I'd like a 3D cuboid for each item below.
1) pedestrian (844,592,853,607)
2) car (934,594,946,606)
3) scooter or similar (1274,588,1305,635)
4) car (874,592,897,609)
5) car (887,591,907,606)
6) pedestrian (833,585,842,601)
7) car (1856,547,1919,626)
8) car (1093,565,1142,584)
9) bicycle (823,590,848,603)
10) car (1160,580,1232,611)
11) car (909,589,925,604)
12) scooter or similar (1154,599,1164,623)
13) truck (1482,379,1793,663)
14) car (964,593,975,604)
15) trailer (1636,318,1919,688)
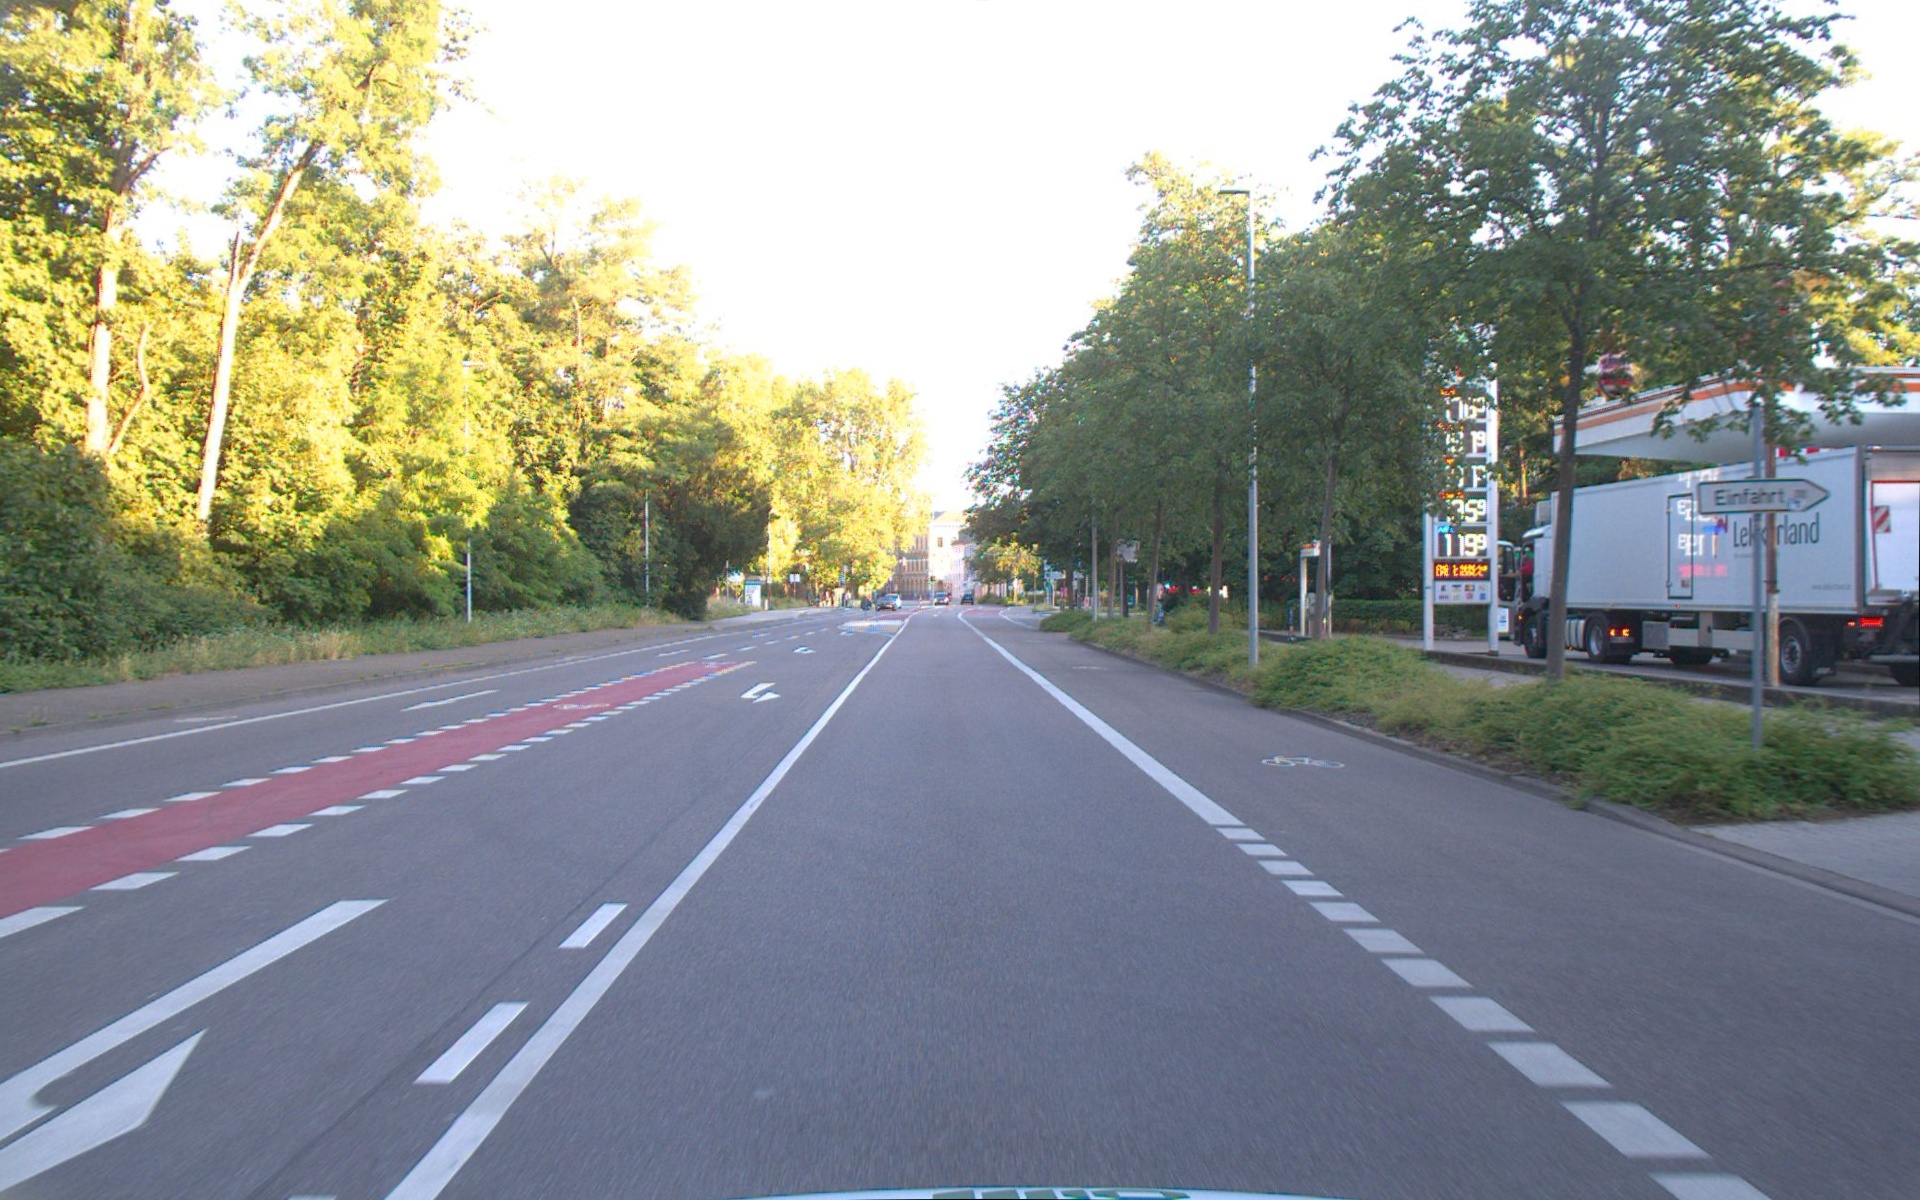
[{"bbox_3d":[-11.661,-0.066,173.410,0.774,1.608,0.746,1,0,8],"label":"pedestrian"},{"bbox_3d":[-2.530,0.015,212.737,1.462,1.512,3.490,0,0,0],"label":"car"},{"bbox_3d":[9.363,0.316,47.070,0.585,1.304,1.468,0,0,0],"label":"scooter or similar"},{"bbox_3d":[-6.633,-0.004,147.182,1.760,1.478,4.128,0,0,1],"label":"car"},{"bbox_3d":[-6.269,-0.128,165.628,1.760,1.478,4.128,0,0,1],"label":"car"},{"bbox_3d":[-12.298,-0.722,166.377,0.774,1.608,0.746,1,0,8],"label":"pedestrian"},{"bbox_3d":[30.078,-0.402,51.742,1.733,2.388,4.623,1,0,2],"label":"car"},{"bbox_3d":[14.202,-2.286,149.281,4.364,1.618,1.717,0,0,7],"label":"car"},{"bbox_3d":[-12.492,-0.353,166.402,2.410,1.216,0.757,0,0,9],"label":"bicycle"},{"bbox_3d":[16.045,-0.308,112.546,4.806,2.024,1.923,0,0,7],"label":"car"},{"bbox_3d":[-4.351,-0.364,167.312,1.462,1.512,3.490,0,0,0],"label":"car"},{"bbox_3d":[8.908,0.486,73.983,0.304,1.060,0.980,-1,0,-1],"label":"scooter or similar"},{"bbox_3d":[14.648,-1.628,36.702,2.973,5.550,8.404,0,1,-4],"label":"truck"},{"bbox_3d":[1.329,-0.165,227.953,1.462,1.512,3.490,0,0,0],"label":"car"},{"bbox_3d":[15.150,-1.510,28.964,2.960,5.557,7.928,0,1,-4],"label":"trailer"}]
